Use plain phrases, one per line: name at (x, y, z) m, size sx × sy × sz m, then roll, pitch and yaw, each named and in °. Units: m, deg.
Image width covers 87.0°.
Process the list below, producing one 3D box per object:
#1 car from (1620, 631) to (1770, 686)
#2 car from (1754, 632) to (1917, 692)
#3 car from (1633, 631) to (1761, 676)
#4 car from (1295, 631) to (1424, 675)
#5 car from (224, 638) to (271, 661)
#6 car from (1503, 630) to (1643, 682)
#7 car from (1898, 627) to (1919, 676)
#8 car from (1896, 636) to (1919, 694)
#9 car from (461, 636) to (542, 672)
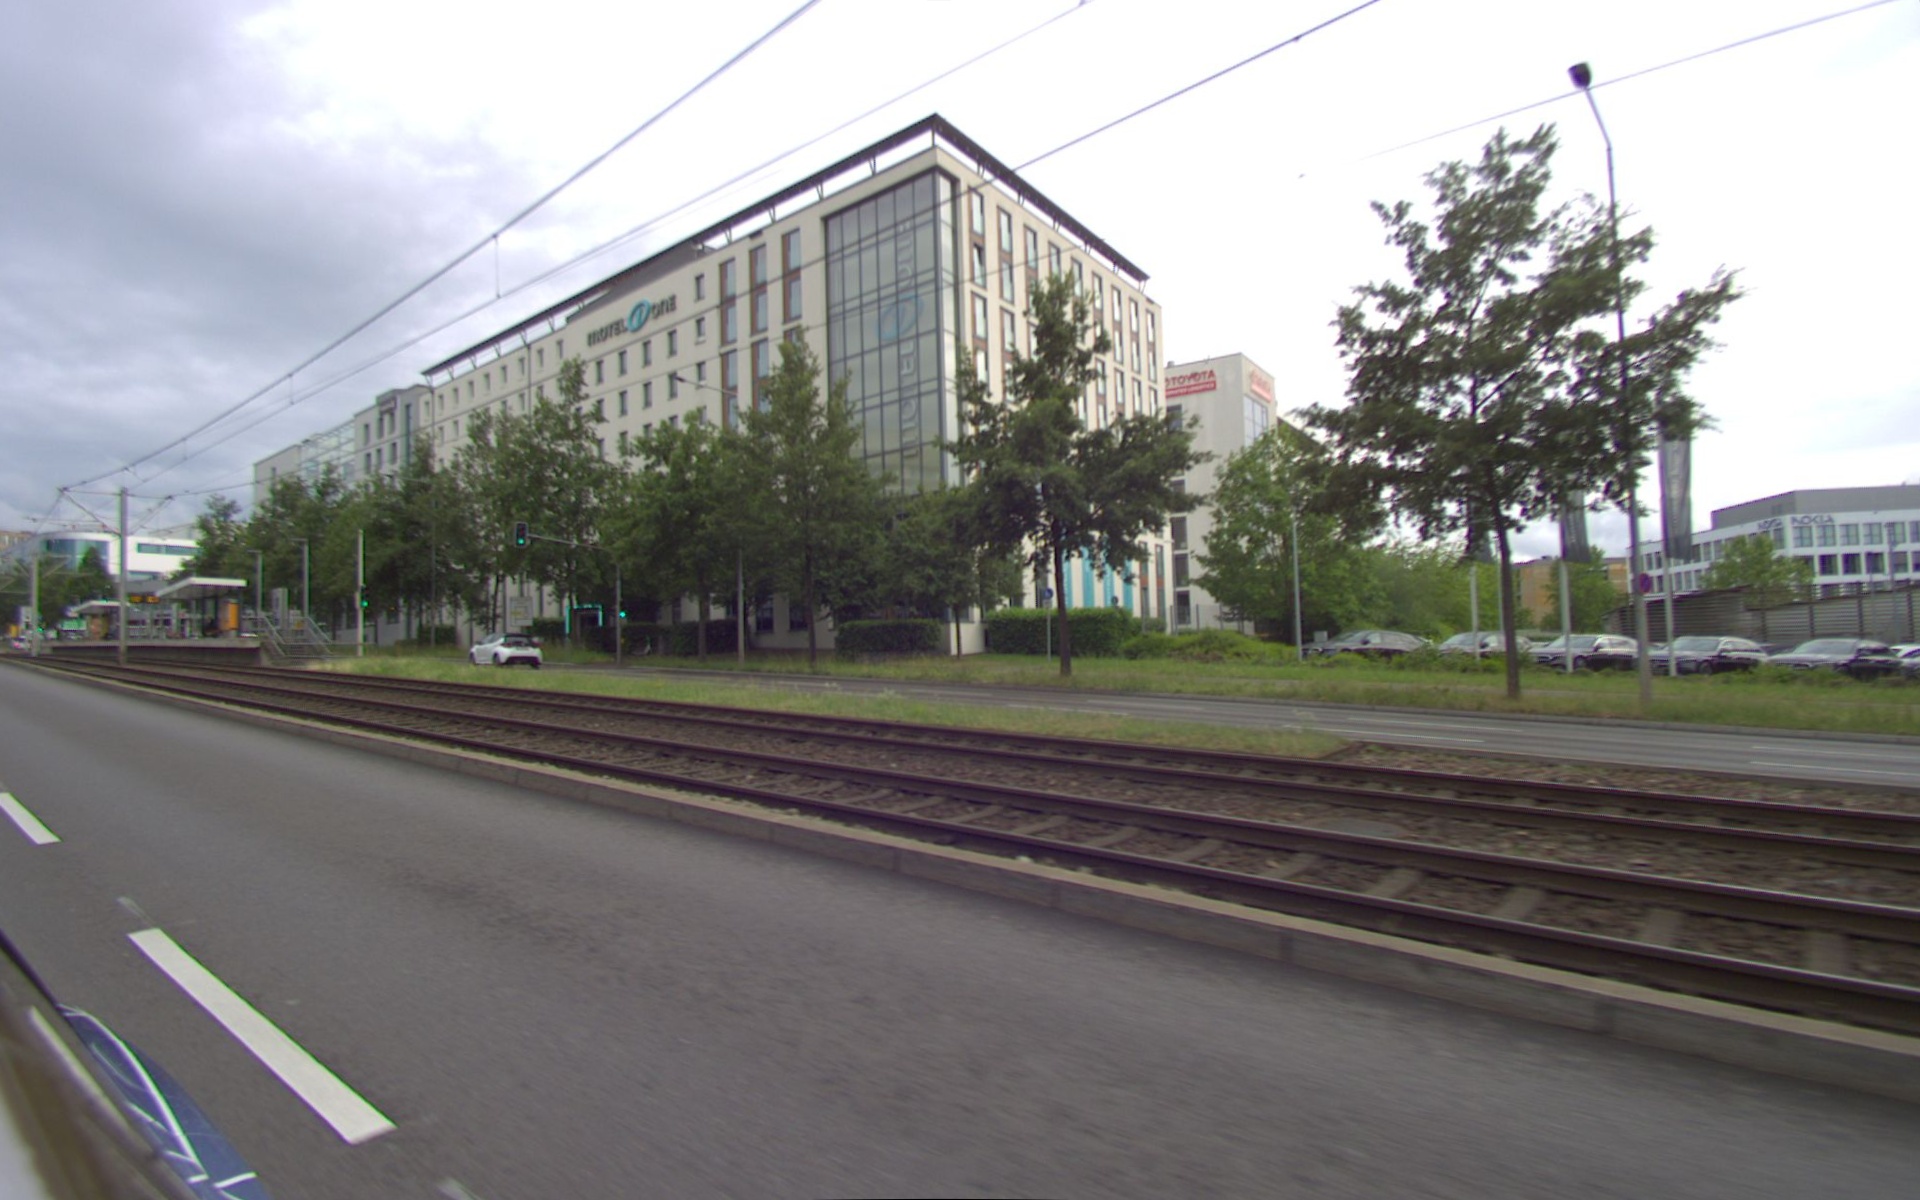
car at (21.688, 1.689, 29.864) m, size 3.931 × 1.401 × 1.770 m, roll -1°, pitch 0°, yaw -23°
car at (23.991, 1.654, 27.730) m, size 3.931 × 1.401 × 1.809 m, roll -1°, pitch 0°, yaw -23°
car at (26.519, 1.893, 36.420) m, size 3.931 × 1.401 × 1.809 m, roll -1°, pitch 0°, yaw -20°
car at (14.275, 1.868, 36.210) m, size 3.933 × 1.401 × 1.808 m, roll -1°, pitch 0°, yaw -13°
car at (-44.086, 3.054, 62.594) m, size 3.561 × 1.375 × 1.678 m, roll -2°, pitch -5°, yaw 43°
car at (19.372, 1.724, 31.978) m, size 3.931 × 1.401 × 1.809 m, roll -1°, pitch 0°, yaw -23°
car at (30.196, 1.512, 30.165) m, size 3.931 × 1.401 × 1.809 m, roll -1°, pitch 0°, yaw -23°
car at (25.969, 1.625, 25.652) m, size 3.931 × 1.401 × 1.809 m, roll -1°, pitch 0°, yaw -23°
car at (-18.841, 2.207, 41.499) m, size 3.817 × 1.375 × 1.678 m, roll -2°, pitch -5°, yaw 43°
